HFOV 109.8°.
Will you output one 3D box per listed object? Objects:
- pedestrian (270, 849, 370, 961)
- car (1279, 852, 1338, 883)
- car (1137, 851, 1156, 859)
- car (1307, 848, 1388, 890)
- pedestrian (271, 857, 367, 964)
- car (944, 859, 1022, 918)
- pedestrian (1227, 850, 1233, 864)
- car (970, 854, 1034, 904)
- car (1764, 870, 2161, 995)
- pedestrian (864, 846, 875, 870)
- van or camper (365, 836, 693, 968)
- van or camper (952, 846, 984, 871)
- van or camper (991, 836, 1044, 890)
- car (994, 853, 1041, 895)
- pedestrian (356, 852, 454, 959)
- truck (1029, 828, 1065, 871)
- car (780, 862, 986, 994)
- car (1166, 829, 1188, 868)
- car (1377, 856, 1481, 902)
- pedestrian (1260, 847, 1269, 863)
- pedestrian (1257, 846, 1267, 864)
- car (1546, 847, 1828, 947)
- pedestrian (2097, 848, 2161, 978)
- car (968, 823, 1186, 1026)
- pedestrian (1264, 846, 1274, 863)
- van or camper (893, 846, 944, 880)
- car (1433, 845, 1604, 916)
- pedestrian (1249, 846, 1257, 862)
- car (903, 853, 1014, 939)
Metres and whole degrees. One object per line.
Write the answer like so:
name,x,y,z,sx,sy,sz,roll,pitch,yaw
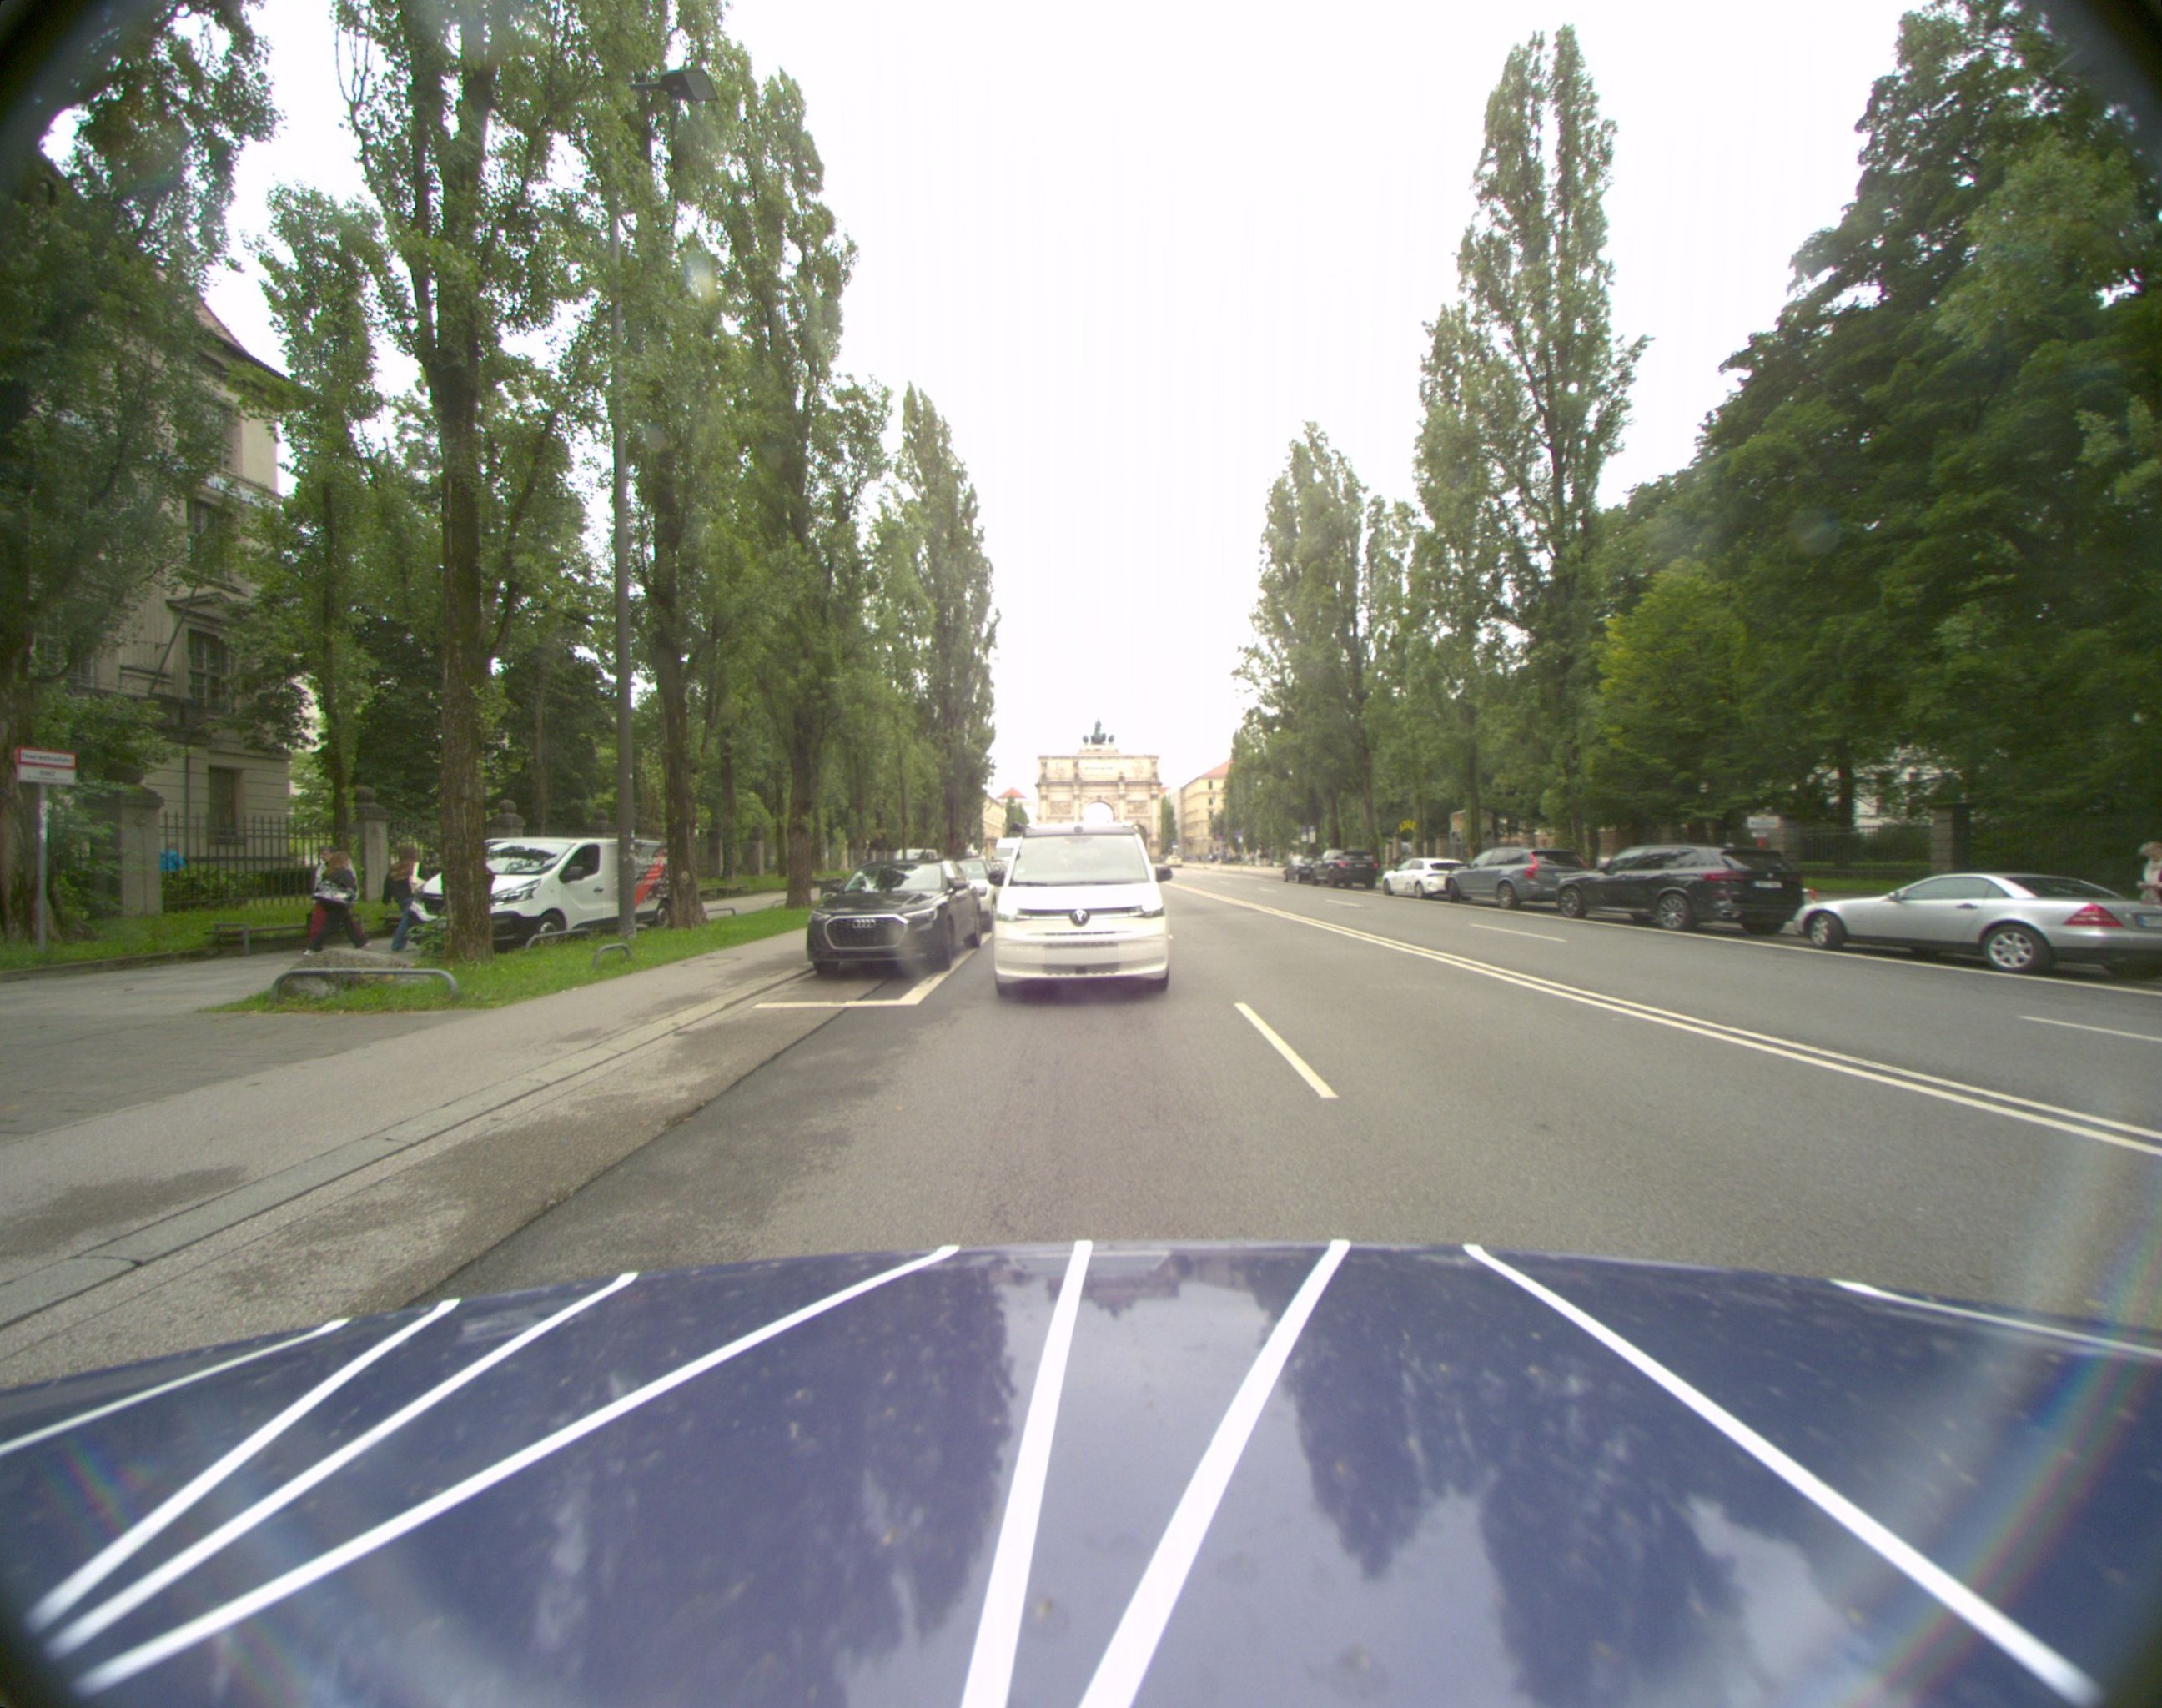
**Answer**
pedestrian,-12.434,0.806,12.445,0.723,1.760,0.867,2,1,1
car,12.536,0.722,42.131,1.949,1.574,4.388,1,0,0
car,14.118,0.297,163.987,2.004,1.739,3.989,-1,0,-40
car,12.432,0.656,35.800,2.051,1.776,4.799,1,0,0
pedestrian,-11.670,0.842,11.666,0.569,1.569,0.867,0,1,0
car,-2.746,0.911,22.134,1.707,1.511,4.294,-1,0,0
pedestrian,17.897,0.336,91.466,0.533,1.720,0.583,-1,1,-11
car,-2.723,0.821,27.029,1.788,1.608,4.637,-1,0,0
car,12.605,0.964,10.854,1.831,1.326,4.233,2,0,-1
pedestrian,-17.709,0.343,63.551,0.905,2.002,0.956,0,1,-16
van or camper,-9.670,0.719,14.108,2.081,1.922,5.368,-2,0,0
van or camper,-9.686,0.394,65.483,2.009,2.002,4.985,-2,0,-2
van or camper,-3.154,0.405,39.226,2.144,2.525,6.416,-1,0,0
car,-2.637,0.812,32.274,1.789,1.639,4.416,-1,0,-2
pedestrian,-11.192,0.826,12.615,0.855,1.707,0.867,1,1,-1
truck,-2.940,-0.367,68.821,2.852,3.543,10.277,-1,0,-1
car,-2.685,0.922,11.449,1.885,1.531,4.464,-1,0,0
car,11.793,-0.685,93.300,1.799,4.451,1.332,20,-37,-8
car,12.388,0.847,27.382,1.708,1.450,4.272,1,0,-1
pedestrian,19.677,0.127,81.534,0.661,1.706,0.911,-1,0,-1
pedestrian,18.916,0.106,79.344,0.711,1.823,1.092,0,1,-1
car,12.423,0.768,16.142,1.946,1.757,4.894,2,0,-2
pedestrian,14.148,0.746,9.920,0.740,1.654,0.751,0,1,1
car,-0.017,0.671,10.226,2.064,1.916,5.728,-1,0,0
pedestrian,19.661,0.042,79.375,0.711,1.762,1.092,0,1,-1
van or camper,-9.741,0.509,45.998,1.980,1.922,5.037,-2,0,-1
car,12.522,0.687,22.248,1.914,1.779,5.179,2,0,-1
pedestrian,18.481,0.035,81.774,0.689,1.690,0.885,-1,0,-1
car,-2.606,0.833,17.201,1.747,1.665,4.579,-1,0,0
